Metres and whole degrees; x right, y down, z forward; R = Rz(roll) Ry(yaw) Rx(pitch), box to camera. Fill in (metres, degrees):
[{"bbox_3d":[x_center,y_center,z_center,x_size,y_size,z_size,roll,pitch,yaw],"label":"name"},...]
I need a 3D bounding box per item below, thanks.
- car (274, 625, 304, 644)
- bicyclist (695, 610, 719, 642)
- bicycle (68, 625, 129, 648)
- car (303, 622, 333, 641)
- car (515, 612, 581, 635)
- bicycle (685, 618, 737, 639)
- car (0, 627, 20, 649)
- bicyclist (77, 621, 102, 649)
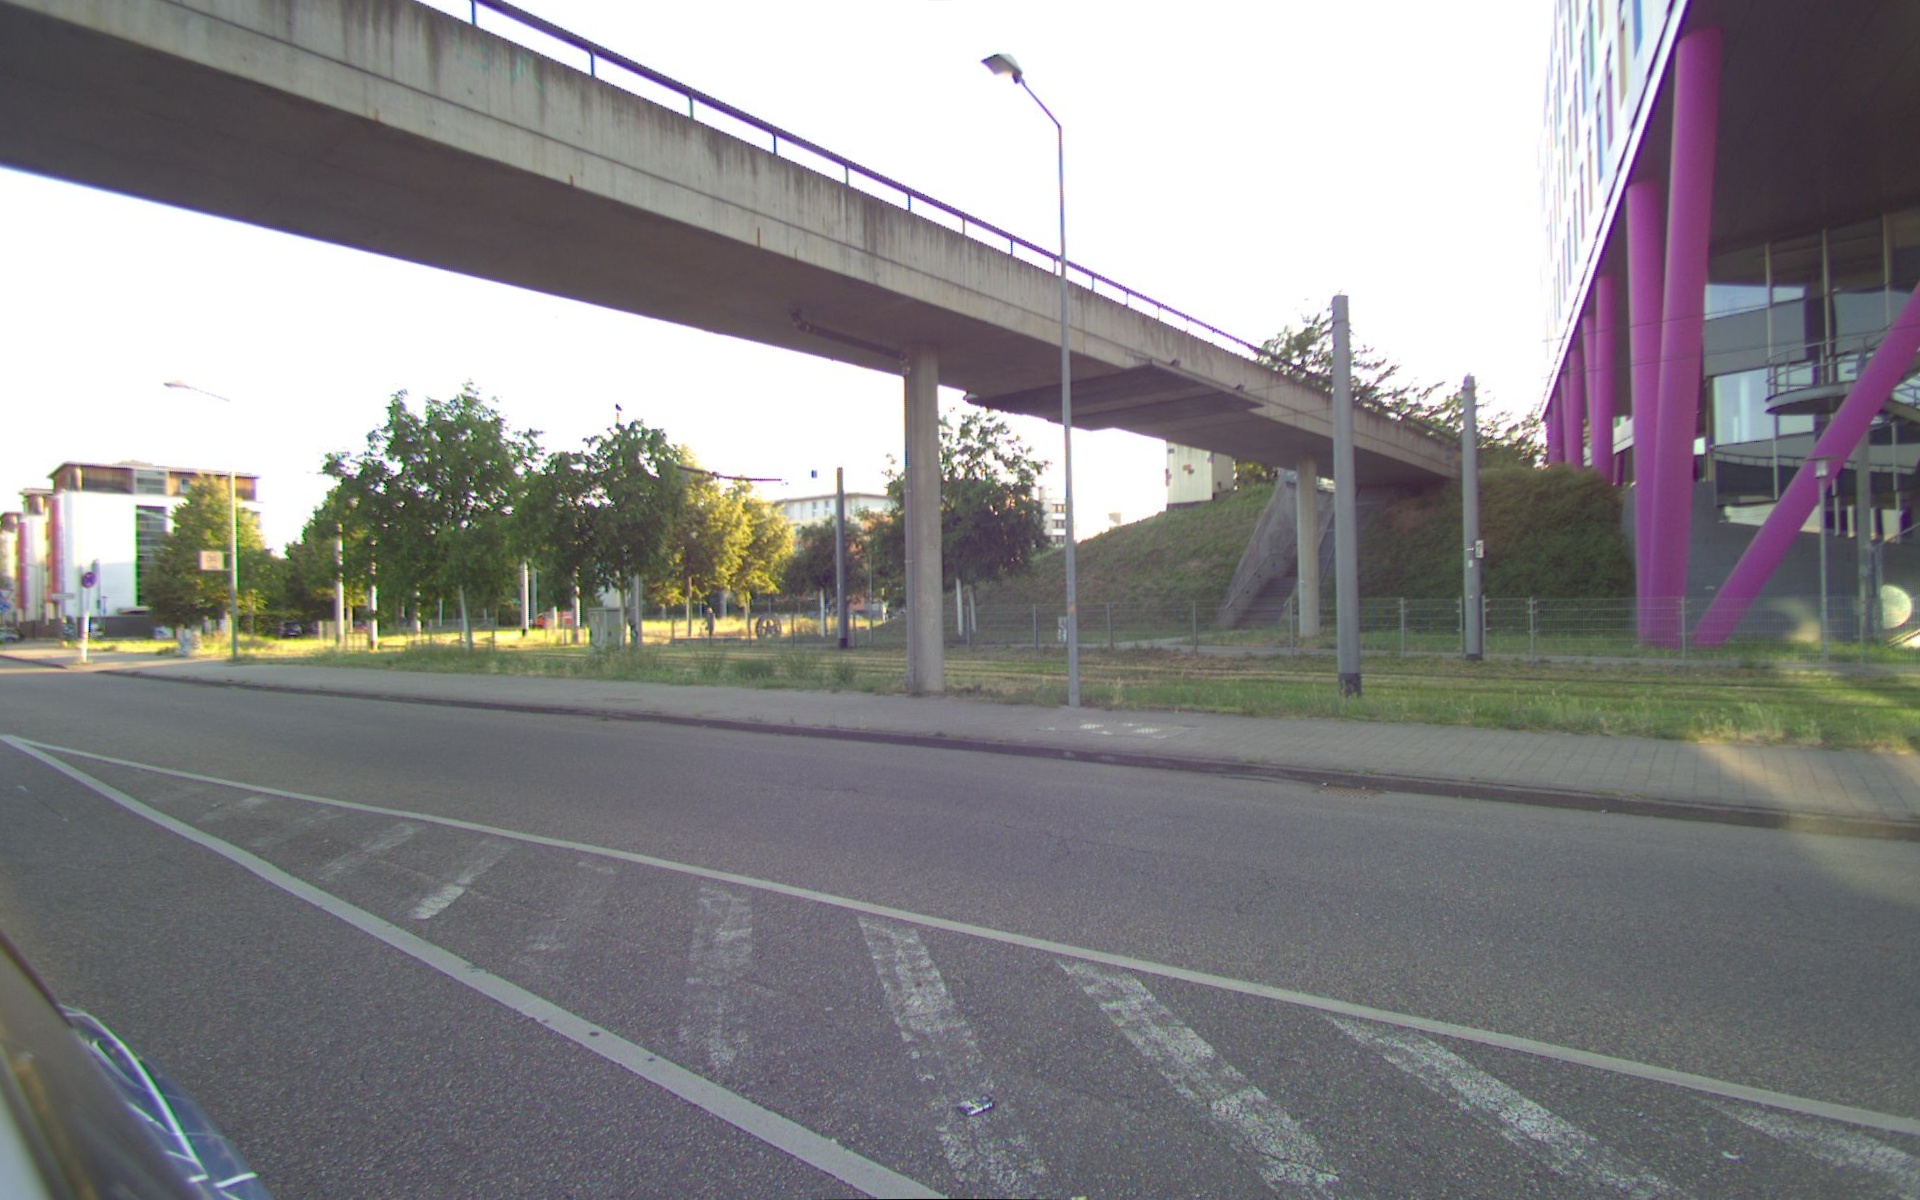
[{"bbox_3d":[-56.888,2.928,85.775,1.913,1.541,4.009,-1,-1,-36],"label":"car"},{"bbox_3d":[-12.895,1.321,51.638,0.716,1.644,0.899,-2,-1,36],"label":"bicyclist"},{"bbox_3d":[-60.498,2.540,71.111,0.880,1.503,3.301,-1,-1,18],"label":"bicycle"},{"bbox_3d":[-55.188,2.720,86.950,1.913,1.541,4.009,-1,-1,-36],"label":"car"},{"bbox_3d":[-38.775,2.183,95.366,5.438,2.029,2.004,-1,-1,-39],"label":"car"},{"bbox_3d":[-12.715,1.457,51.774,0.654,1.016,2.808,-2,-1,37],"label":"bicycle"},{"bbox_3d":[-80.563,3.164,83.720,2.000,1.741,3.944,-2,-1,42],"label":"car"},{"bbox_3d":[-60.740,2.444,70.622,0.875,1.890,1.029,-1,-1,15],"label":"bicyclist"}]
